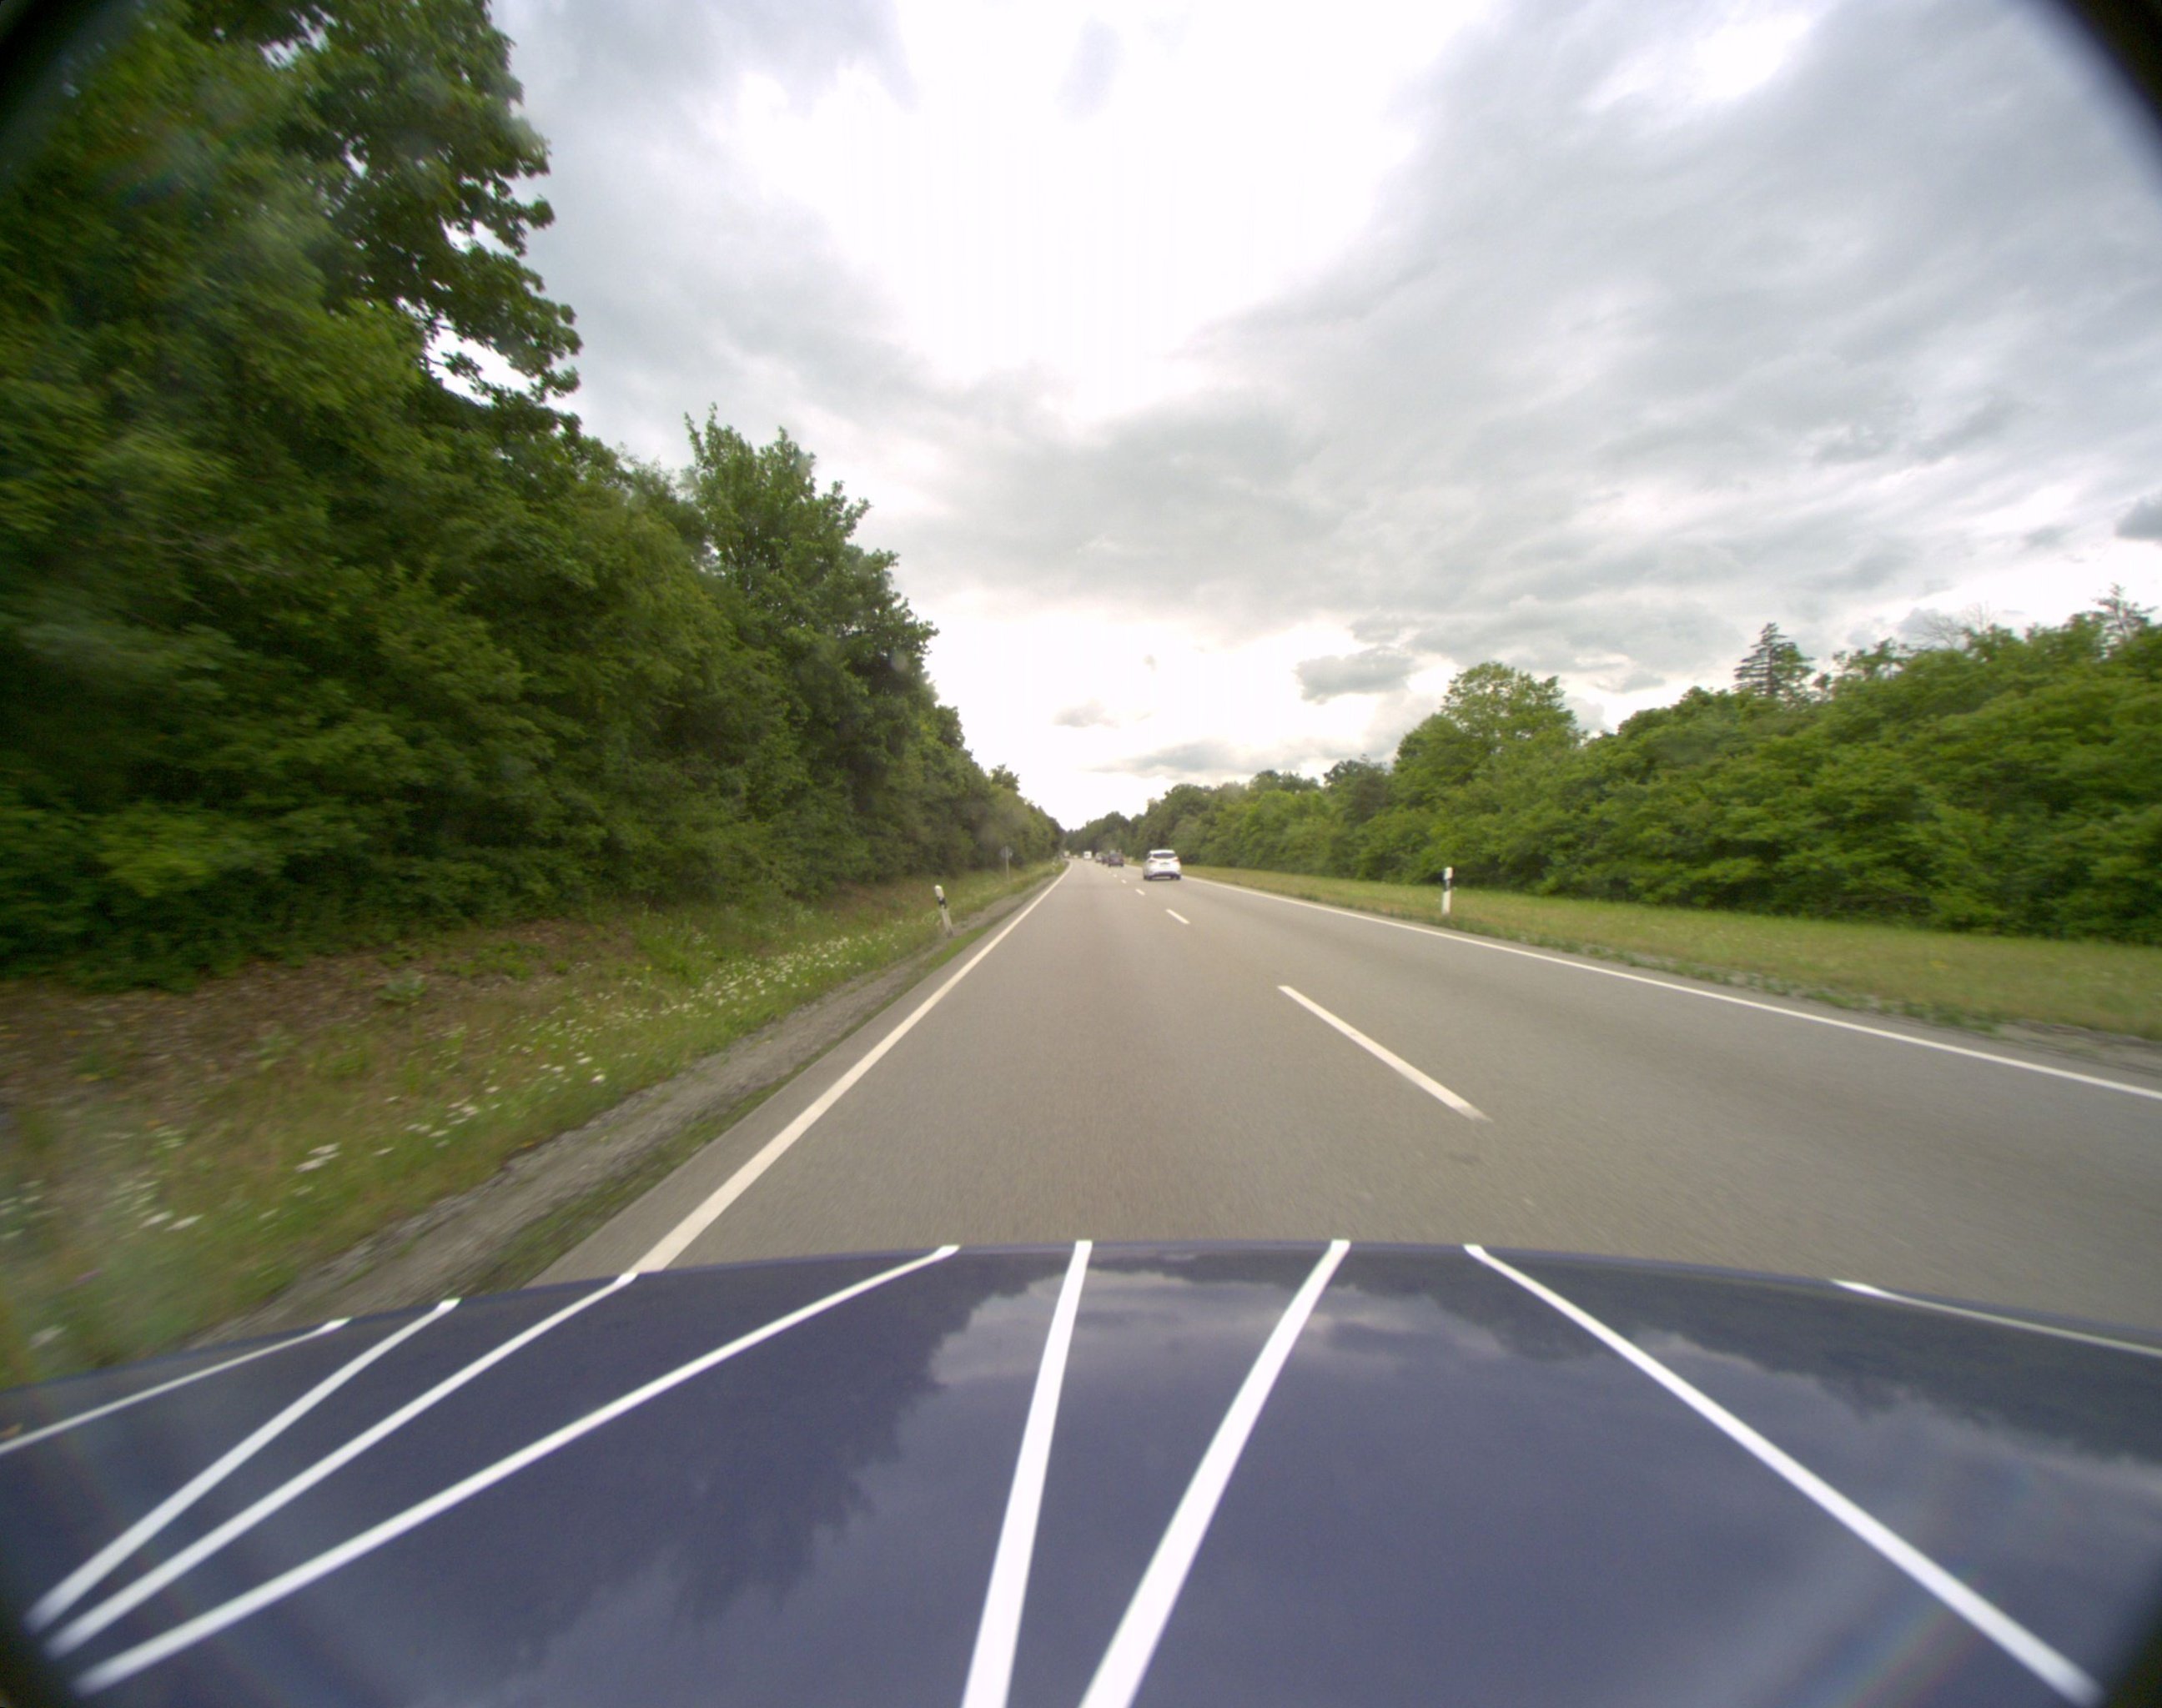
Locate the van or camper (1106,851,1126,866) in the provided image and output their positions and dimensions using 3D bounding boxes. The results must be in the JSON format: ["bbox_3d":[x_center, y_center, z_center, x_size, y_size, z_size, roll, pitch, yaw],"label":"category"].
[{"bbox_3d":[4.355,0.585,94.383,1.999,1.772,4.420,-2,0,-3],"label":"van or camper"}]

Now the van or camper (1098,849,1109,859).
[{"bbox_3d":[4.574,-0.039,155.431,1.926,1.881,5.361,-2,0,0],"label":"van or camper"}]

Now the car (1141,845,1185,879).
[{"bbox_3d":[4.637,0.442,43.581,1.918,1.770,4.612,-2,0,0],"label":"car"}]

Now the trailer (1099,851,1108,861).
[{"bbox_3d":[4.498,0.473,150.373,1.627,1.881,3.783,-2,0,0],"label":"trailer"}]
